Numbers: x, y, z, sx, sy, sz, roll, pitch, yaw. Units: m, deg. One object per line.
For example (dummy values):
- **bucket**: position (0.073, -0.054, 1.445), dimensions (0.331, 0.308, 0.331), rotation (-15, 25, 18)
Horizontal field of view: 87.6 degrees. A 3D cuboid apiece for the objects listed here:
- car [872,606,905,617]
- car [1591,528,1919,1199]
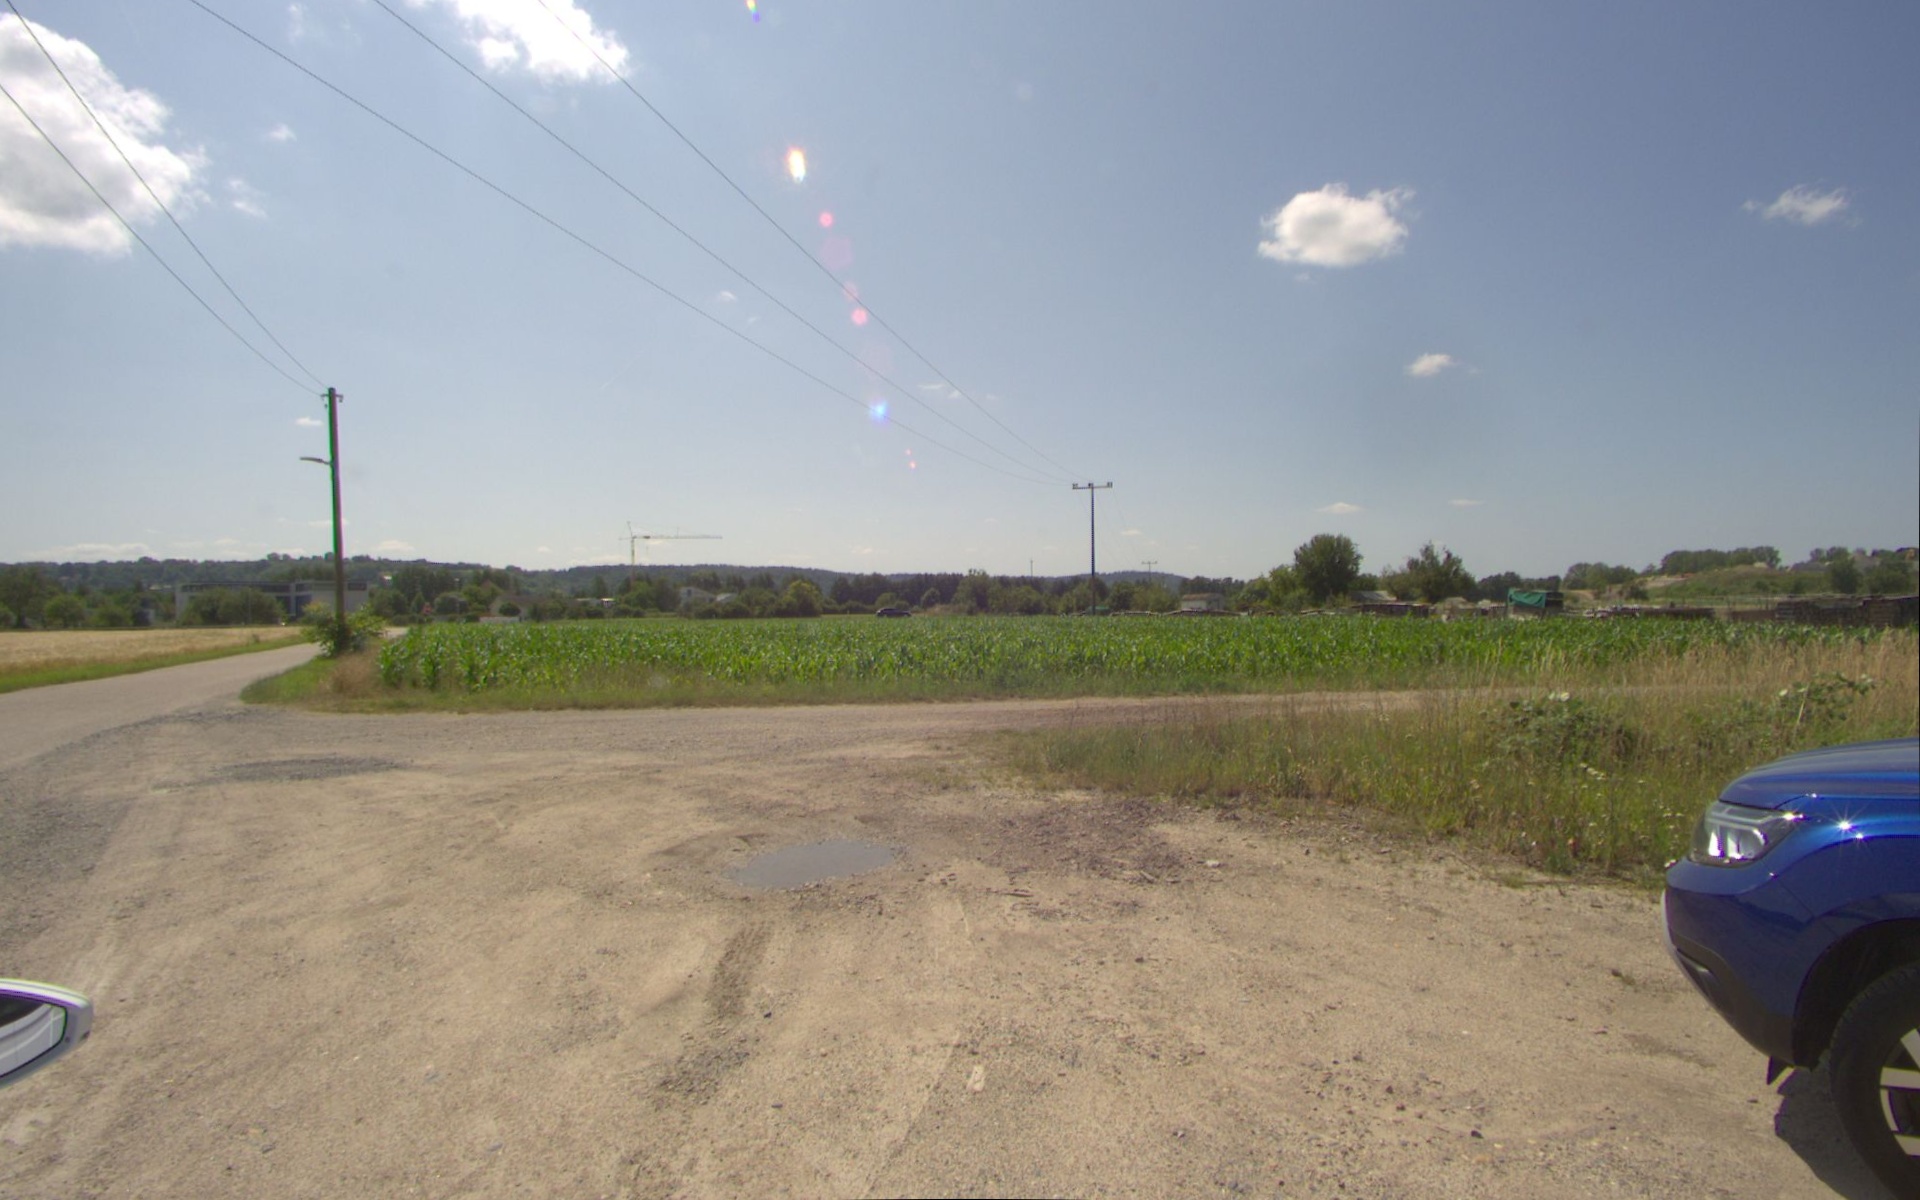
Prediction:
- **car**: position (-9.631, 1.542, 134.396), dimensions (4.214, 1.522, 1.814), rotation (-1, 0, -14)
- **car**: position (3.929, 0.639, 1.765), dimensions (1.843, 1.682, 4.423), rotation (1, -2, -39)
